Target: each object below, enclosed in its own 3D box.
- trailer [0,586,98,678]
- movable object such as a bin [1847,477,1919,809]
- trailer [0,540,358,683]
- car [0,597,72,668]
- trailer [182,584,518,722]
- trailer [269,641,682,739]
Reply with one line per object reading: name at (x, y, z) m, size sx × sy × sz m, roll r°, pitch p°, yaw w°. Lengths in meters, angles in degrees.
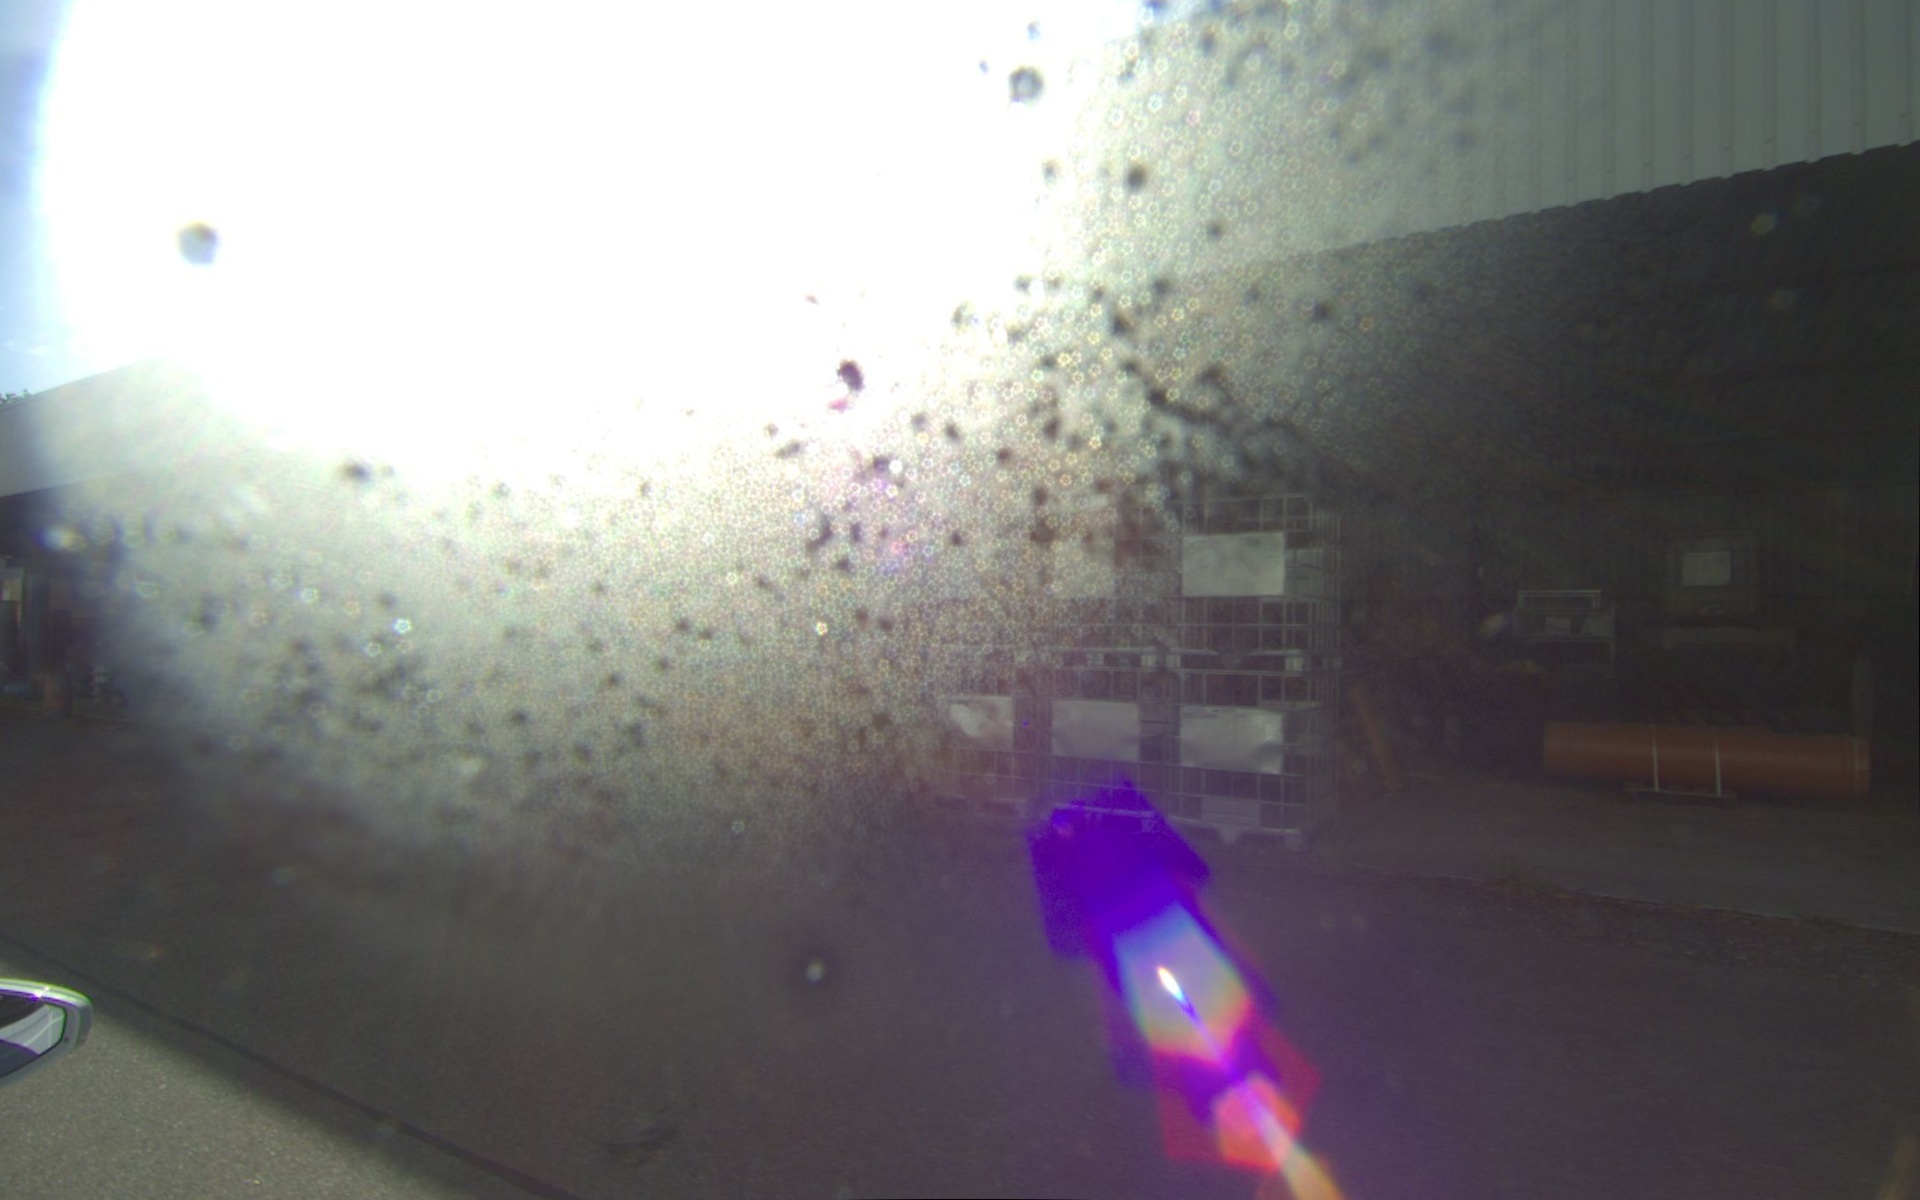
trailer at (-25.749, 0.829, 26.176) m, size 2.018 × 2.372 × 4.509 m, roll -1°, pitch -2°, yaw 32°
movable object such as a bin at (9.585, 0.386, 8.404) m, size 2.461 × 2.866 × 4.520 m, roll 0°, pitch -2°, yaw 32°
trailer at (-22.323, 0.380, 27.083) m, size 2.760 × 3.386 × 10.253 m, roll 0°, pitch -2°, yaw 32°
car at (-32.303, 1.033, 32.086) m, size 2.121 × 2.309 × 5.327 m, roll -1°, pitch -3°, yaw 30°
trailer at (-10.165, 0.852, 17.043) m, size 2.132 × 2.015 × 4.415 m, roll -1°, pitch -2°, yaw 33°
trailer at (-7.162, 1.261, 15.651) m, size 1.945 × 1.200 × 5.722 m, roll -1°, pitch -2°, yaw 30°
